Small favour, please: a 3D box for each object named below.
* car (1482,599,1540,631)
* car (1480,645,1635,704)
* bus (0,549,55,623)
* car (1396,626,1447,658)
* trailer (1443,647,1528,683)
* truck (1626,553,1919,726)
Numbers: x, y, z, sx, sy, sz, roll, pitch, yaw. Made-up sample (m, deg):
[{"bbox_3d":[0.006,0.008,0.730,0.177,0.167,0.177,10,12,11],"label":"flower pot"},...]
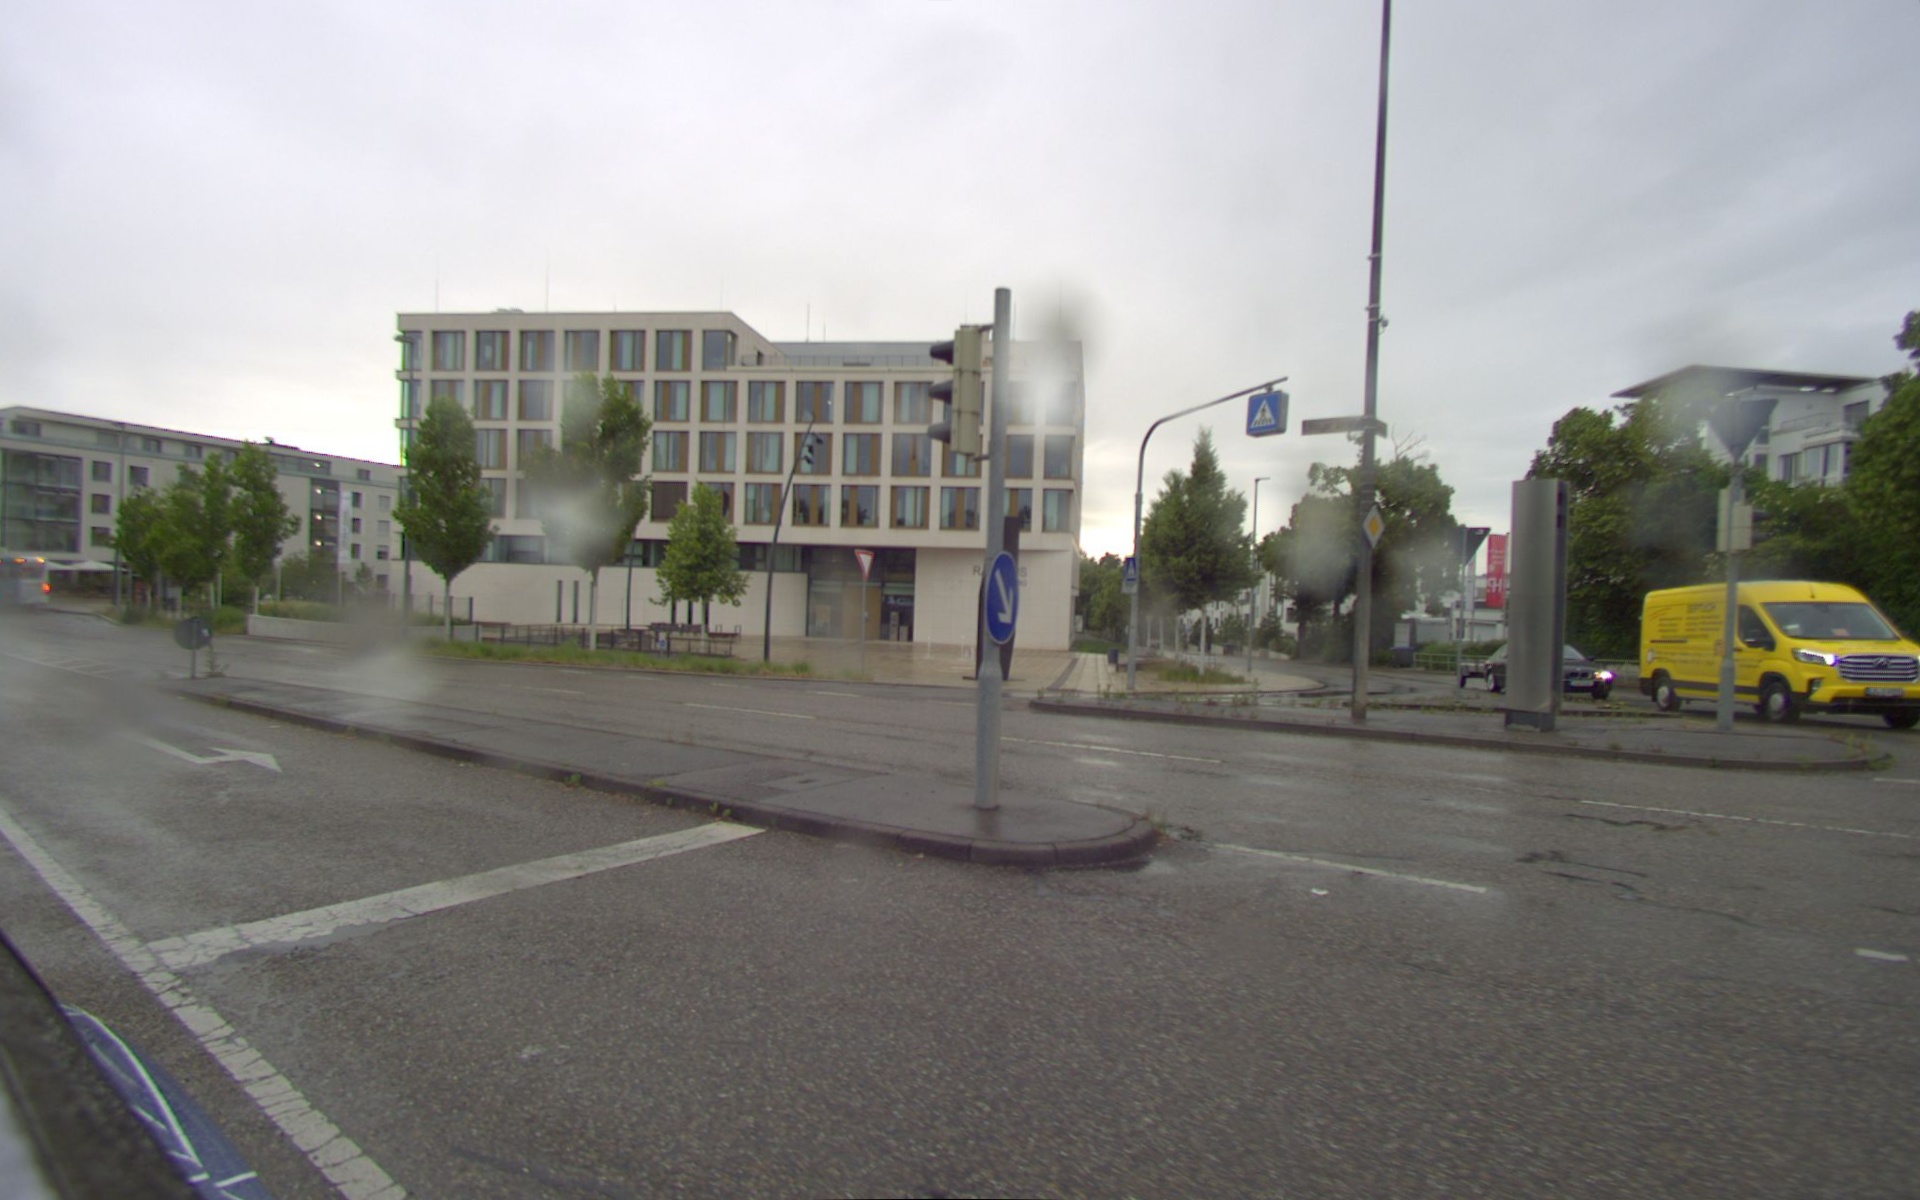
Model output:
[{"bbox_3d":[37.507,0.973,68.956,1.766,2.029,3.999,0,1,0],"label":"car"},{"bbox_3d":[15.234,1.853,26.103,1.843,1.327,4.345,1,-2,7],"label":"car"},{"bbox_3d":[-60.010,-0.789,61.802,18.187,4.025,2.918,0,-2,35],"label":"bus"},{"bbox_3d":[32.376,2.947,71.146,1.766,2.029,3.999,0,1,0],"label":"car"},{"bbox_3d":[16.029,1.975,30.956,1.589,0.986,2.281,1,-2,8],"label":"trailer"},{"bbox_3d":[14.586,0.700,18.100,2.204,2.557,6.155,1,-2,10],"label":"truck"}]
